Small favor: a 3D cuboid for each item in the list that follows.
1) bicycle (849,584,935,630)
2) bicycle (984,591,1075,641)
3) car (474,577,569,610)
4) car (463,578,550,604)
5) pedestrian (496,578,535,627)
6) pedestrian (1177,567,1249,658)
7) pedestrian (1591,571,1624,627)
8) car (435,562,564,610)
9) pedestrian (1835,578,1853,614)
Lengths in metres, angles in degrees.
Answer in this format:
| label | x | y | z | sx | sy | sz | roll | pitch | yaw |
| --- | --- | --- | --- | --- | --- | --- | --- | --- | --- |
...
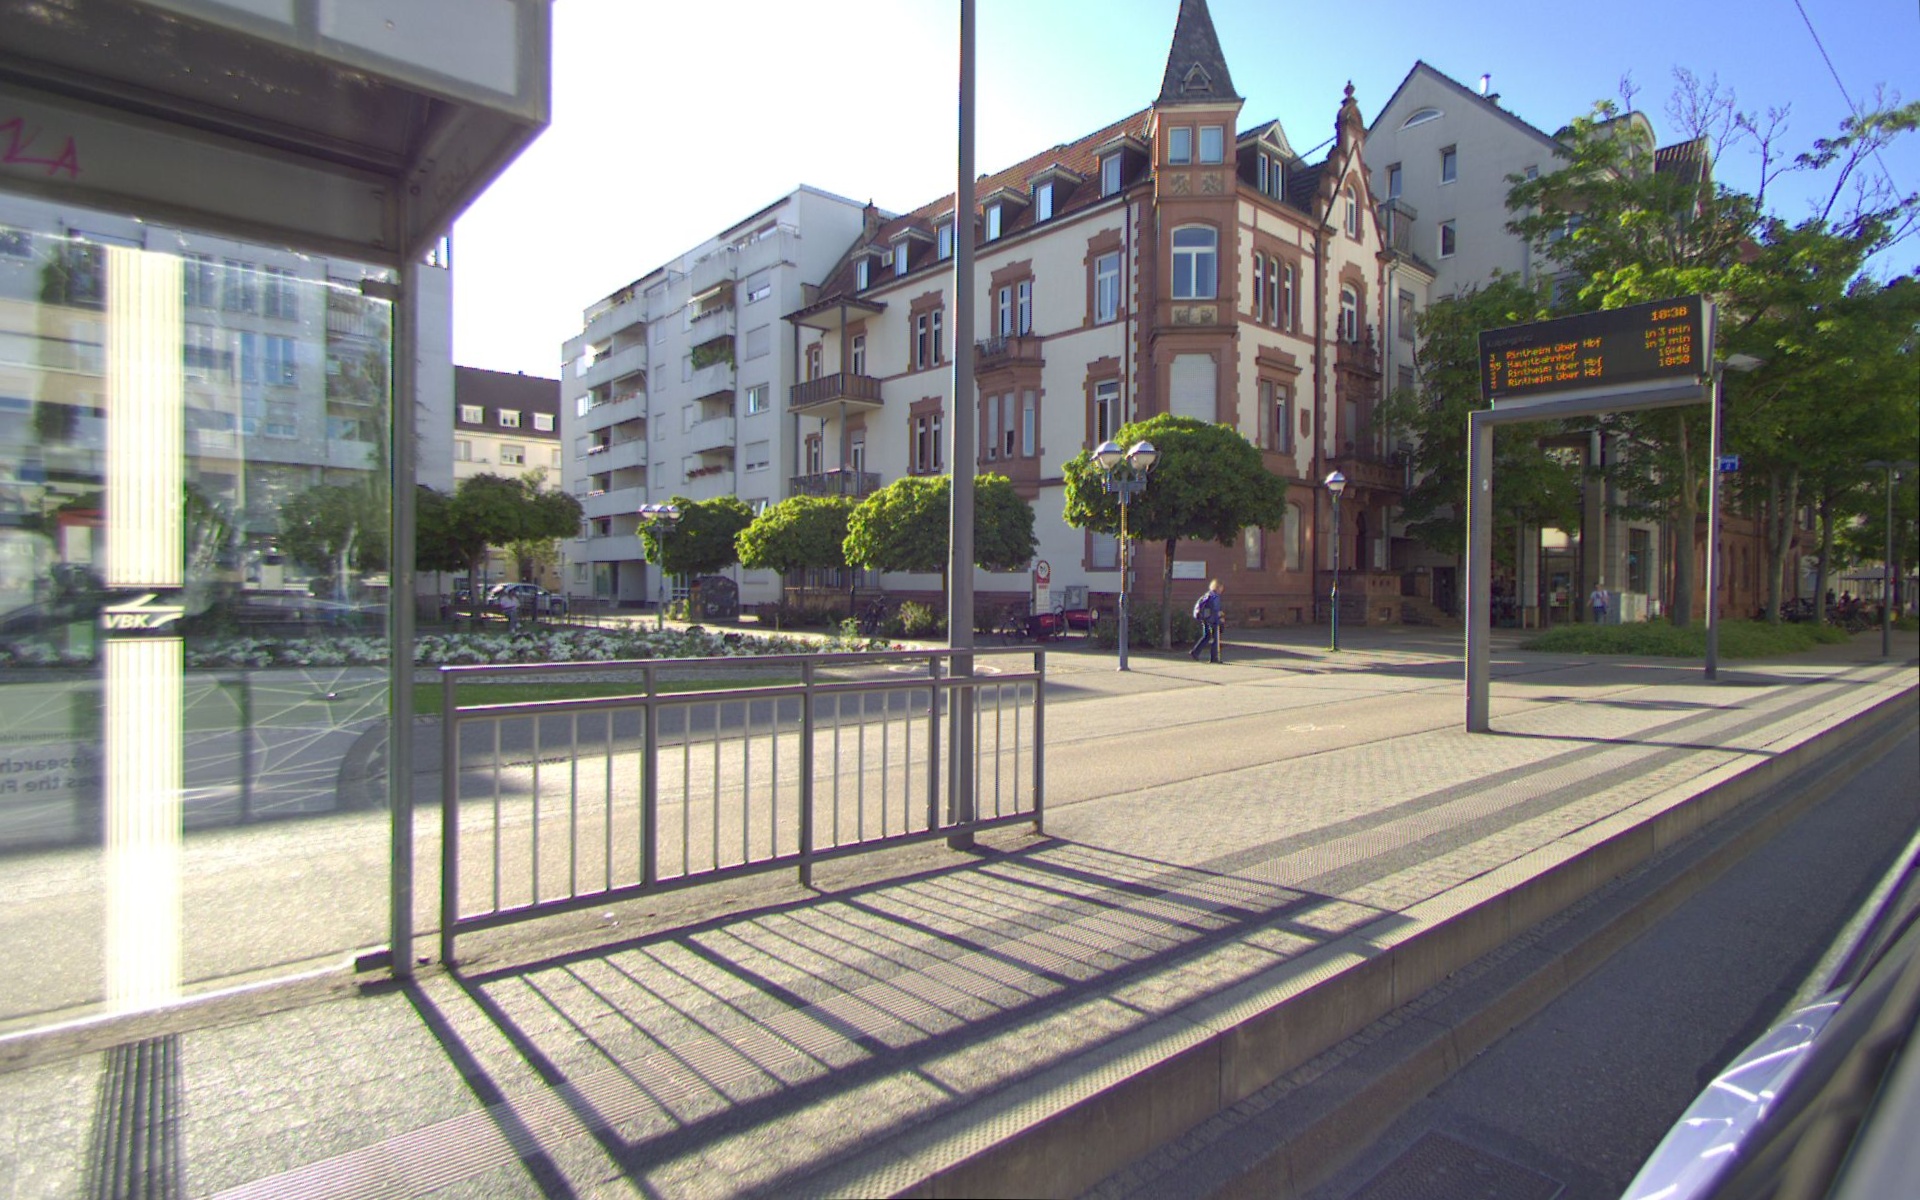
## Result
| label | x | y | z | sx | sy | sz | roll | pitch | yaw |
| --- | --- | --- | --- | --- | --- | --- | --- | --- | --- |
| bicycle | -2.111 | 0.201 | 31.913 | 2.864 | 1.389 | 0.745 | 0 | 1 | -41 |
| bicycle | 1.771 | 0.372 | 25.170 | 0.786 | 1.081 | 2.767 | 1 | 3 | 40 |
| car | -21.170 | -0.326 | 48.873 | 3.923 | 1.536 | 2.001 | 0 | 1 | -34 |
| car | -23.865 | -0.476 | 53.246 | 3.923 | 1.304 | 2.001 | 0 | 1 | -34 |
| pedestrian | -13.360 | 0.066 | 30.393 | 0.917 | 1.429 | 1.529 | 0 | 1 | -30 |
| pedestrian | 4.878 | 0.217 | 19.529 | 1.064 | 1.689 | 0.944 | 1 | 1 | 37 |
| pedestrian | 20.565 | -0.044 | 32.156 | 0.740 | 1.757 | 0.864 | 1 | 1 | 43 |
| car | -26.708 | -0.812 | 58.850 | 6.292 | 2.587 | 2.807 | 0 | 1 | -44 |
| pedestrian | 50.438 | -0.253 | 57.748 | 0.549 | 2.039 | 0.654 | 0 | 0 | -38 |
